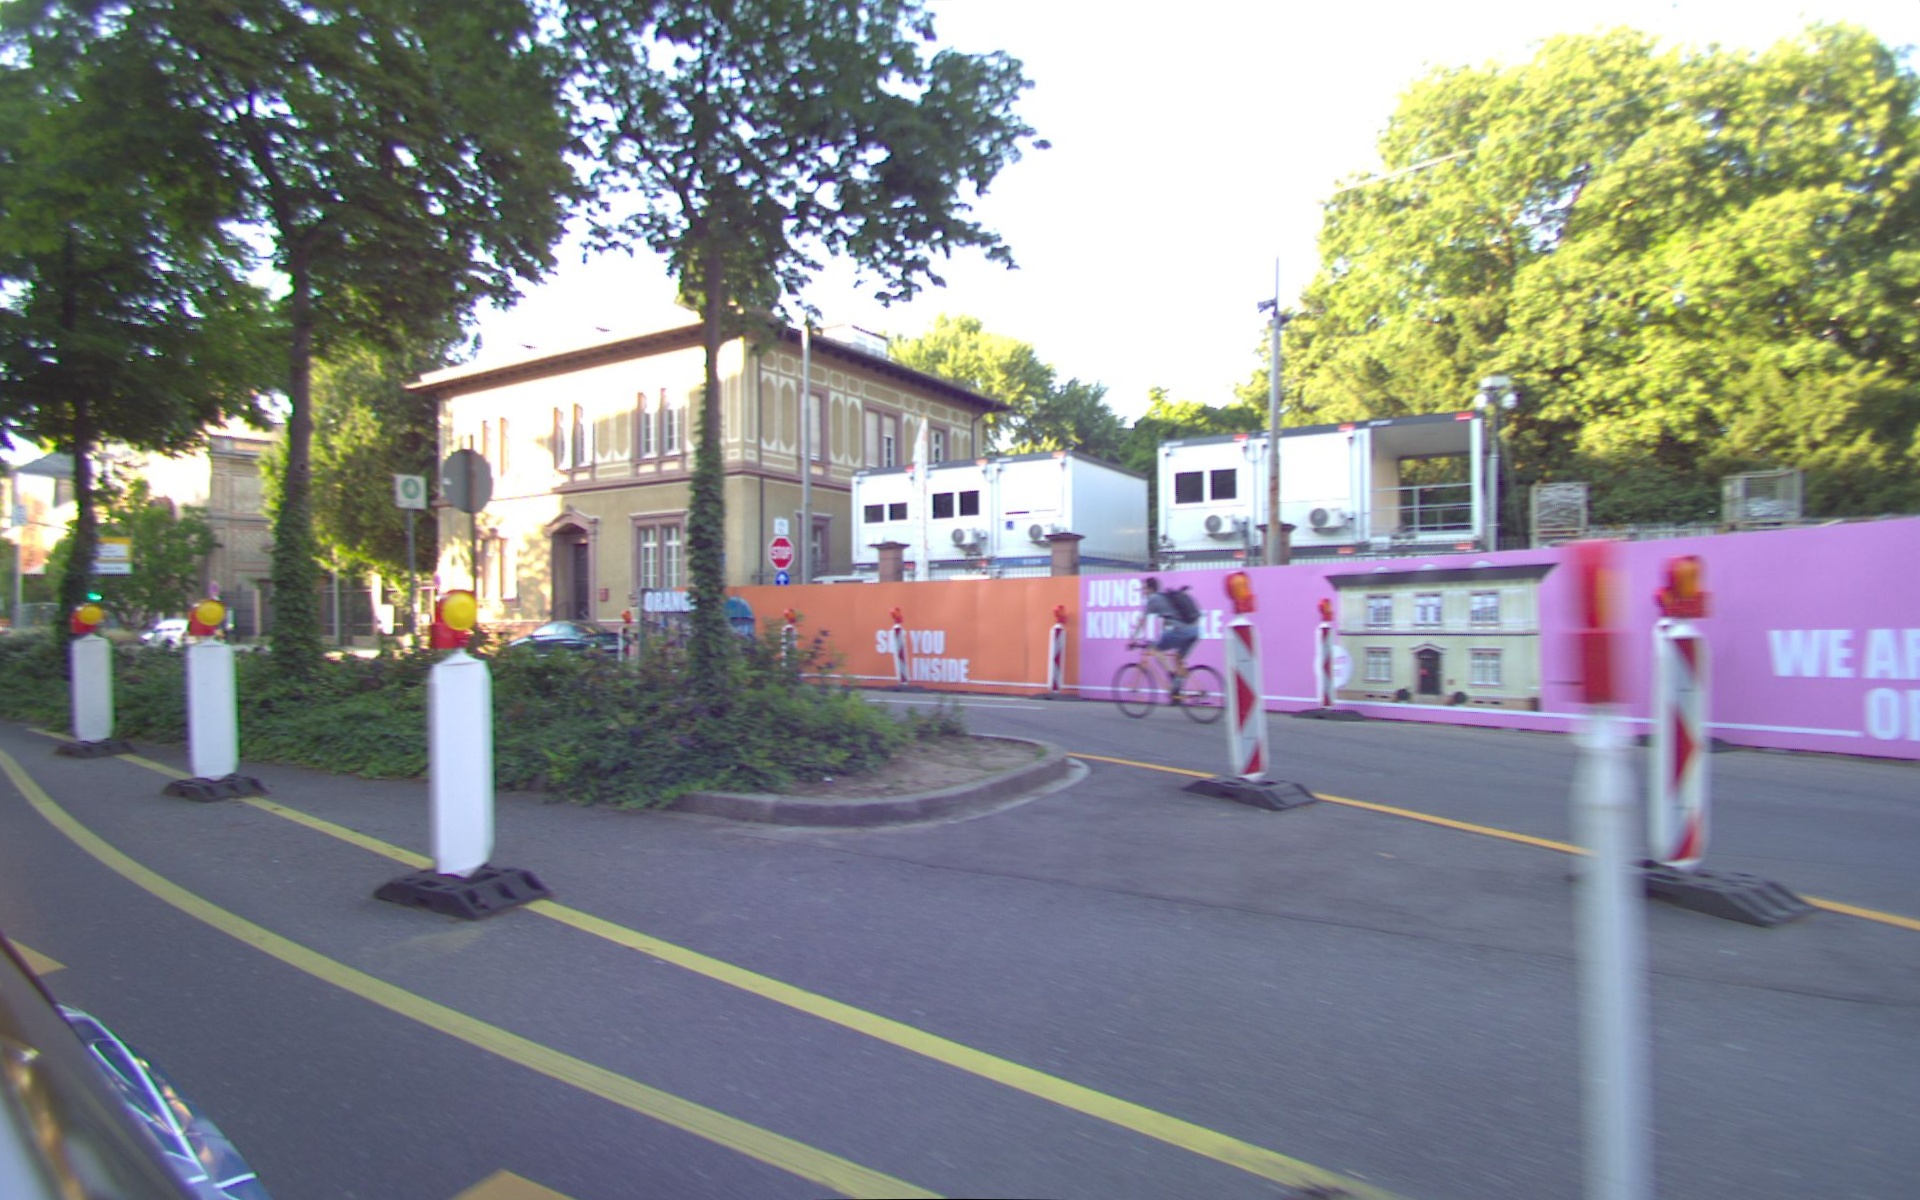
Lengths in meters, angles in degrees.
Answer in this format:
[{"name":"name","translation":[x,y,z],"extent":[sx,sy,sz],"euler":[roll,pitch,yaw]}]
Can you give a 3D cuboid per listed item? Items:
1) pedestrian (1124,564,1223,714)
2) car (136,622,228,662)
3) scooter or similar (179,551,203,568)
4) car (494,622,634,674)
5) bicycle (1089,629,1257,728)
[{"name":"pedestrian","translation":[2.514,0.448,11.977],"extent":[0.724,1.687,0.898],"euler":[0,-1,-28]},{"name":"car","translation":[-32.592,1.745,42.355],"extent":[4.357,1.559,1.730],"euler":[-2,0,34]},{"name":"scooter or similar","translation":[-38.402,-1.999,50.539],"extent":[1.026,0.783,0.672],"euler":[-2,-1,35]},{"name":"car","translation":[-11.200,1.336,28.586],"extent":[3.872,1.361,1.668],"euler":[-1,-3,30]},{"name":"bicycle","translation":[2.470,0.876,12.025],"extent":[0.750,1.045,2.127],"euler":[0,-1,-28]}]
